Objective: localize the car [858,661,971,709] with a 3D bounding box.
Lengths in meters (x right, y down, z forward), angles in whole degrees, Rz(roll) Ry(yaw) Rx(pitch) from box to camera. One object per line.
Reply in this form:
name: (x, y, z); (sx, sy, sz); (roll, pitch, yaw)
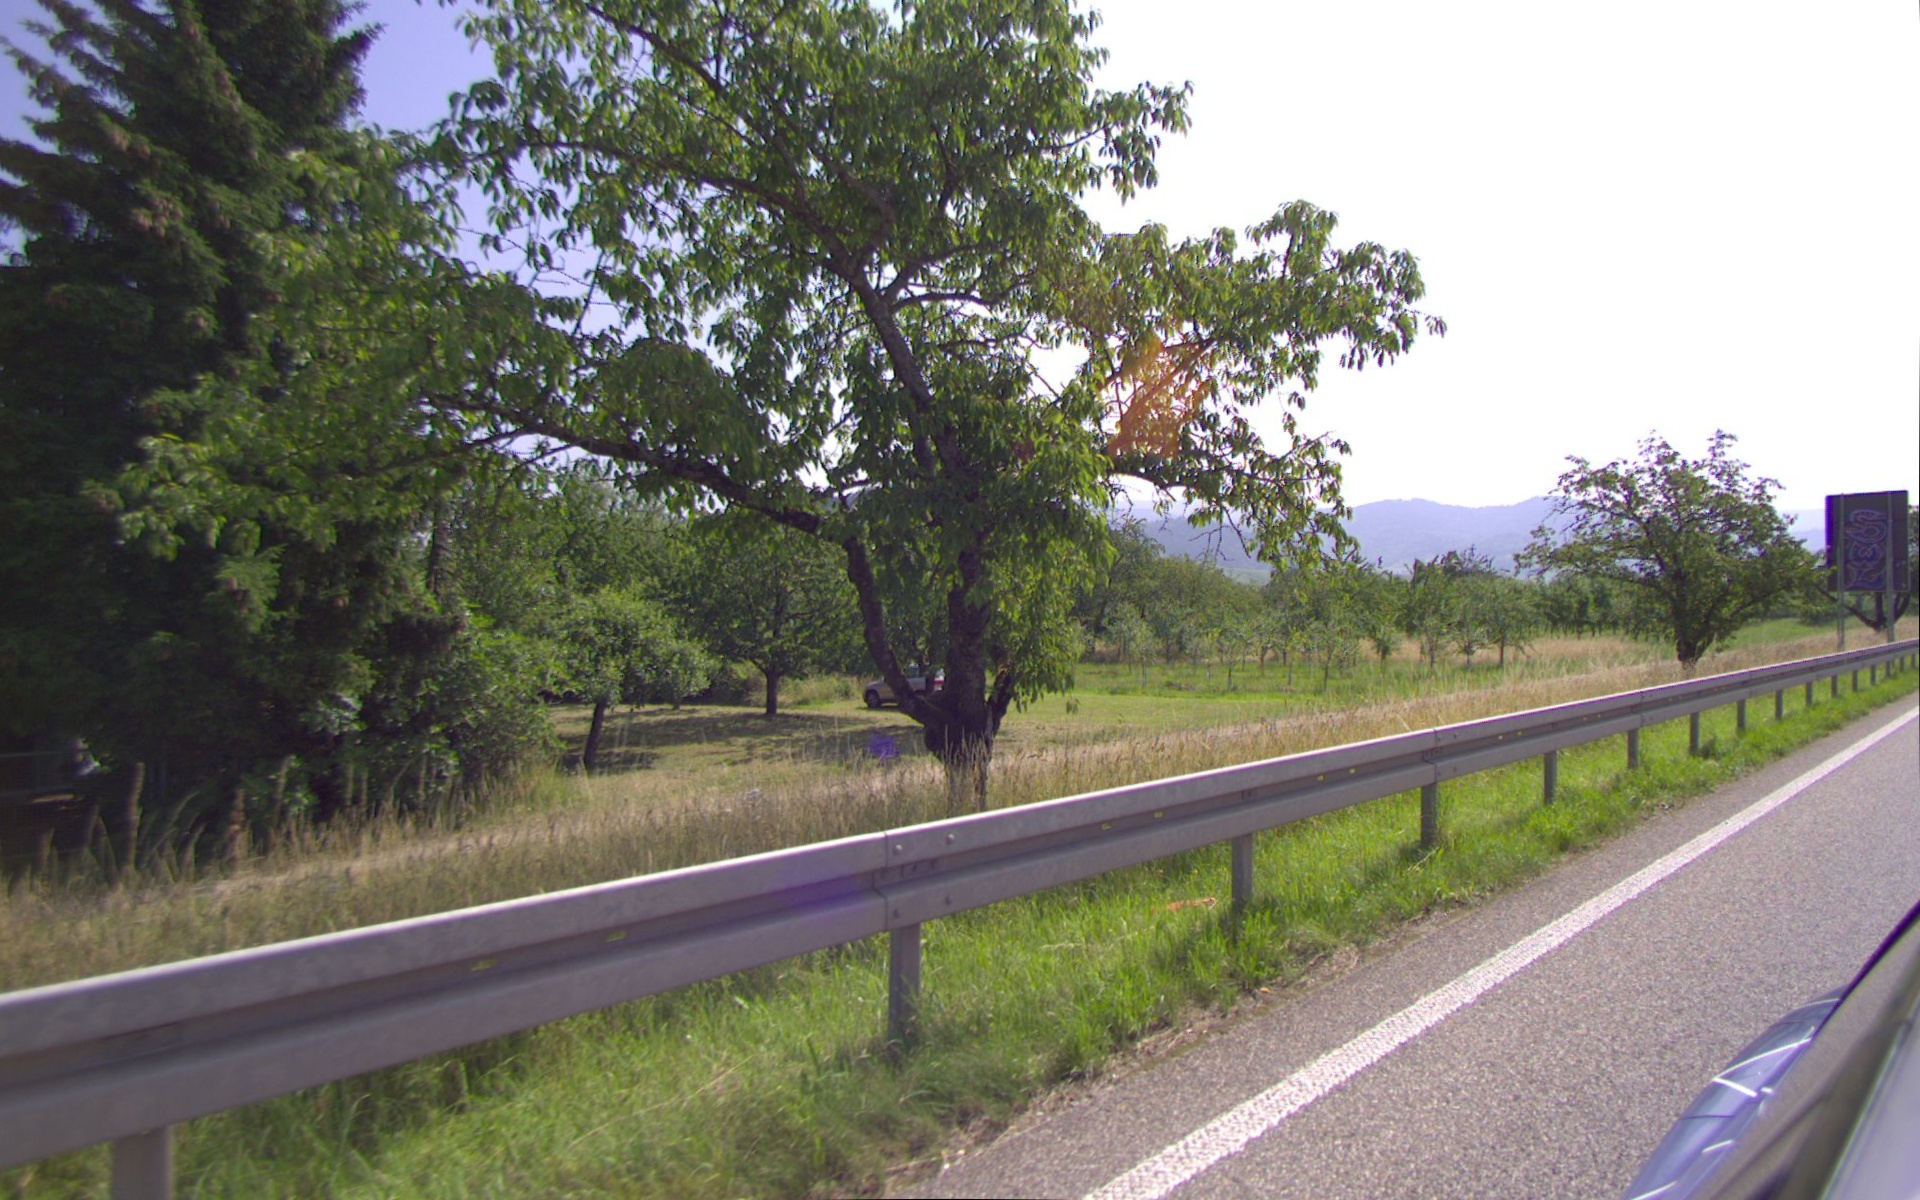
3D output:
car: (-1.718, 3.088, 37.157); (4.077, 1.554, 1.828); (-4, -2, 44)
